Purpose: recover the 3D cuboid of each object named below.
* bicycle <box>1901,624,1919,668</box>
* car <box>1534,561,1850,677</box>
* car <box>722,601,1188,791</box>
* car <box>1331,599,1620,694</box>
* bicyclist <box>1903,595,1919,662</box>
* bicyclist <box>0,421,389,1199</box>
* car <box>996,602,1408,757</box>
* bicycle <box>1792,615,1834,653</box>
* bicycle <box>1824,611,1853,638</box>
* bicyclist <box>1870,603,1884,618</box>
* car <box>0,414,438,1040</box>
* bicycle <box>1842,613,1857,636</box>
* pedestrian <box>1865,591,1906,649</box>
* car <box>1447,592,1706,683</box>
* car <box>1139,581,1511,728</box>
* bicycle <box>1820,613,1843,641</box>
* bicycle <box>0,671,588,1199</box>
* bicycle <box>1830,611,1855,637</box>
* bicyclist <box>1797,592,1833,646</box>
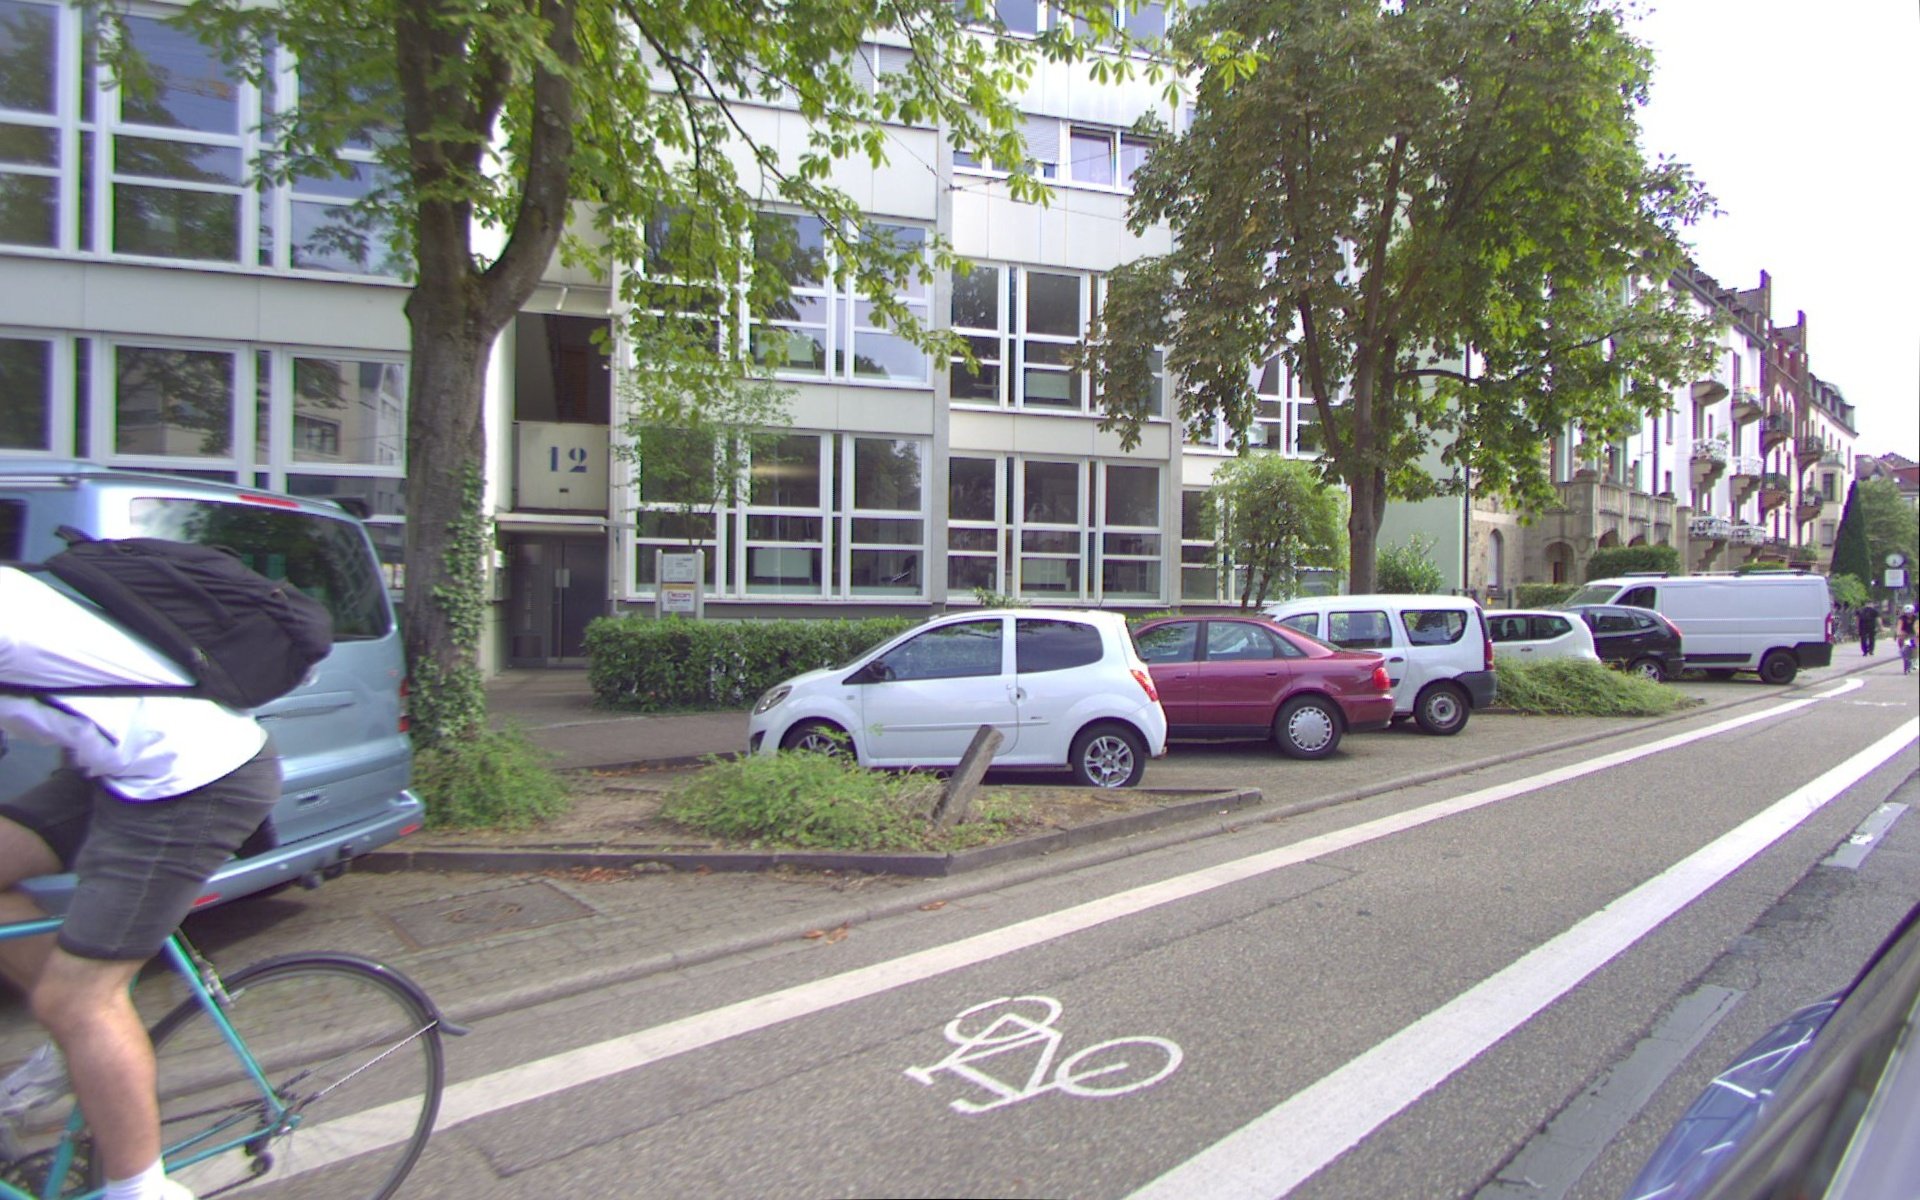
[{"bbox_3d":[23.394,1.113,24.603,2.037,0.993,0.639,0,1,-44],"label":"bicycle"},{"bbox_3d":[15.425,0.380,21.647,4.873,2.319,2.381,0,0,6],"label":"car"},{"bbox_3d":[-0.018,0.740,8.749,3.650,1.451,1.687,0,0,4],"label":"car"},{"bbox_3d":[8.657,0.746,17.264,4.019,1.530,1.687,0,0,4],"label":"car"},{"bbox_3d":[23.421,0.688,24.618,1.092,1.590,0.639,1,0,-44],"label":"bicyclist"},{"bbox_3d":[-1.871,0.431,2.014,1.158,1.482,0.658,1,-1,-43],"label":"bicyclist"},{"bbox_3d":[2.385,0.755,10.648,3.907,1.451,1.686,0,0,7],"label":"car"},{"bbox_3d":[24.352,0.953,28.878,2.002,0.974,0.689,1,2,-44],"label":"bicycle"},{"bbox_3d":[32.192,0.894,37.088,1.635,0.918,0.487,0,1,-39],"label":"bicycle"},{"bbox_3d":[81.859,0.934,90.327,0.604,1.382,0.773,0,0,3],"label":"bicyclist"},{"bbox_3d":[-4.802,0.412,4.383,4.199,2.040,1.829,0,0,4],"label":"car"},{"bbox_3d":[34.744,0.942,39.541,1.177,0.863,0.278,0,1,-41],"label":"bicycle"},{"bbox_3d":[28.814,0.615,31.522,0.880,1.754,0.786,1,2,-42],"label":"pedestrian"},{"bbox_3d":[11.772,0.691,19.523,3.889,1.669,1.687,0,0,4],"label":"car"},{"bbox_3d":[4.385,0.630,12.650,4.034,1.689,1.688,0,0,4],"label":"car"},{"bbox_3d":[30.815,0.931,35.806,0.484,0.918,1.643,2,2,37],"label":"bicycle"},{"bbox_3d":[-1.894,0.832,1.995,2.088,1.265,0.658,1,-1,-43],"label":"bicycle"},{"bbox_3d":[33.438,0.906,38.329,1.636,0.918,0.486,0,2,-41],"label":"bicycle"},{"bbox_3d":[24.499,0.534,28.997,0.787,1.488,0.648,1,2,-44],"label":"bicyclist"}]
